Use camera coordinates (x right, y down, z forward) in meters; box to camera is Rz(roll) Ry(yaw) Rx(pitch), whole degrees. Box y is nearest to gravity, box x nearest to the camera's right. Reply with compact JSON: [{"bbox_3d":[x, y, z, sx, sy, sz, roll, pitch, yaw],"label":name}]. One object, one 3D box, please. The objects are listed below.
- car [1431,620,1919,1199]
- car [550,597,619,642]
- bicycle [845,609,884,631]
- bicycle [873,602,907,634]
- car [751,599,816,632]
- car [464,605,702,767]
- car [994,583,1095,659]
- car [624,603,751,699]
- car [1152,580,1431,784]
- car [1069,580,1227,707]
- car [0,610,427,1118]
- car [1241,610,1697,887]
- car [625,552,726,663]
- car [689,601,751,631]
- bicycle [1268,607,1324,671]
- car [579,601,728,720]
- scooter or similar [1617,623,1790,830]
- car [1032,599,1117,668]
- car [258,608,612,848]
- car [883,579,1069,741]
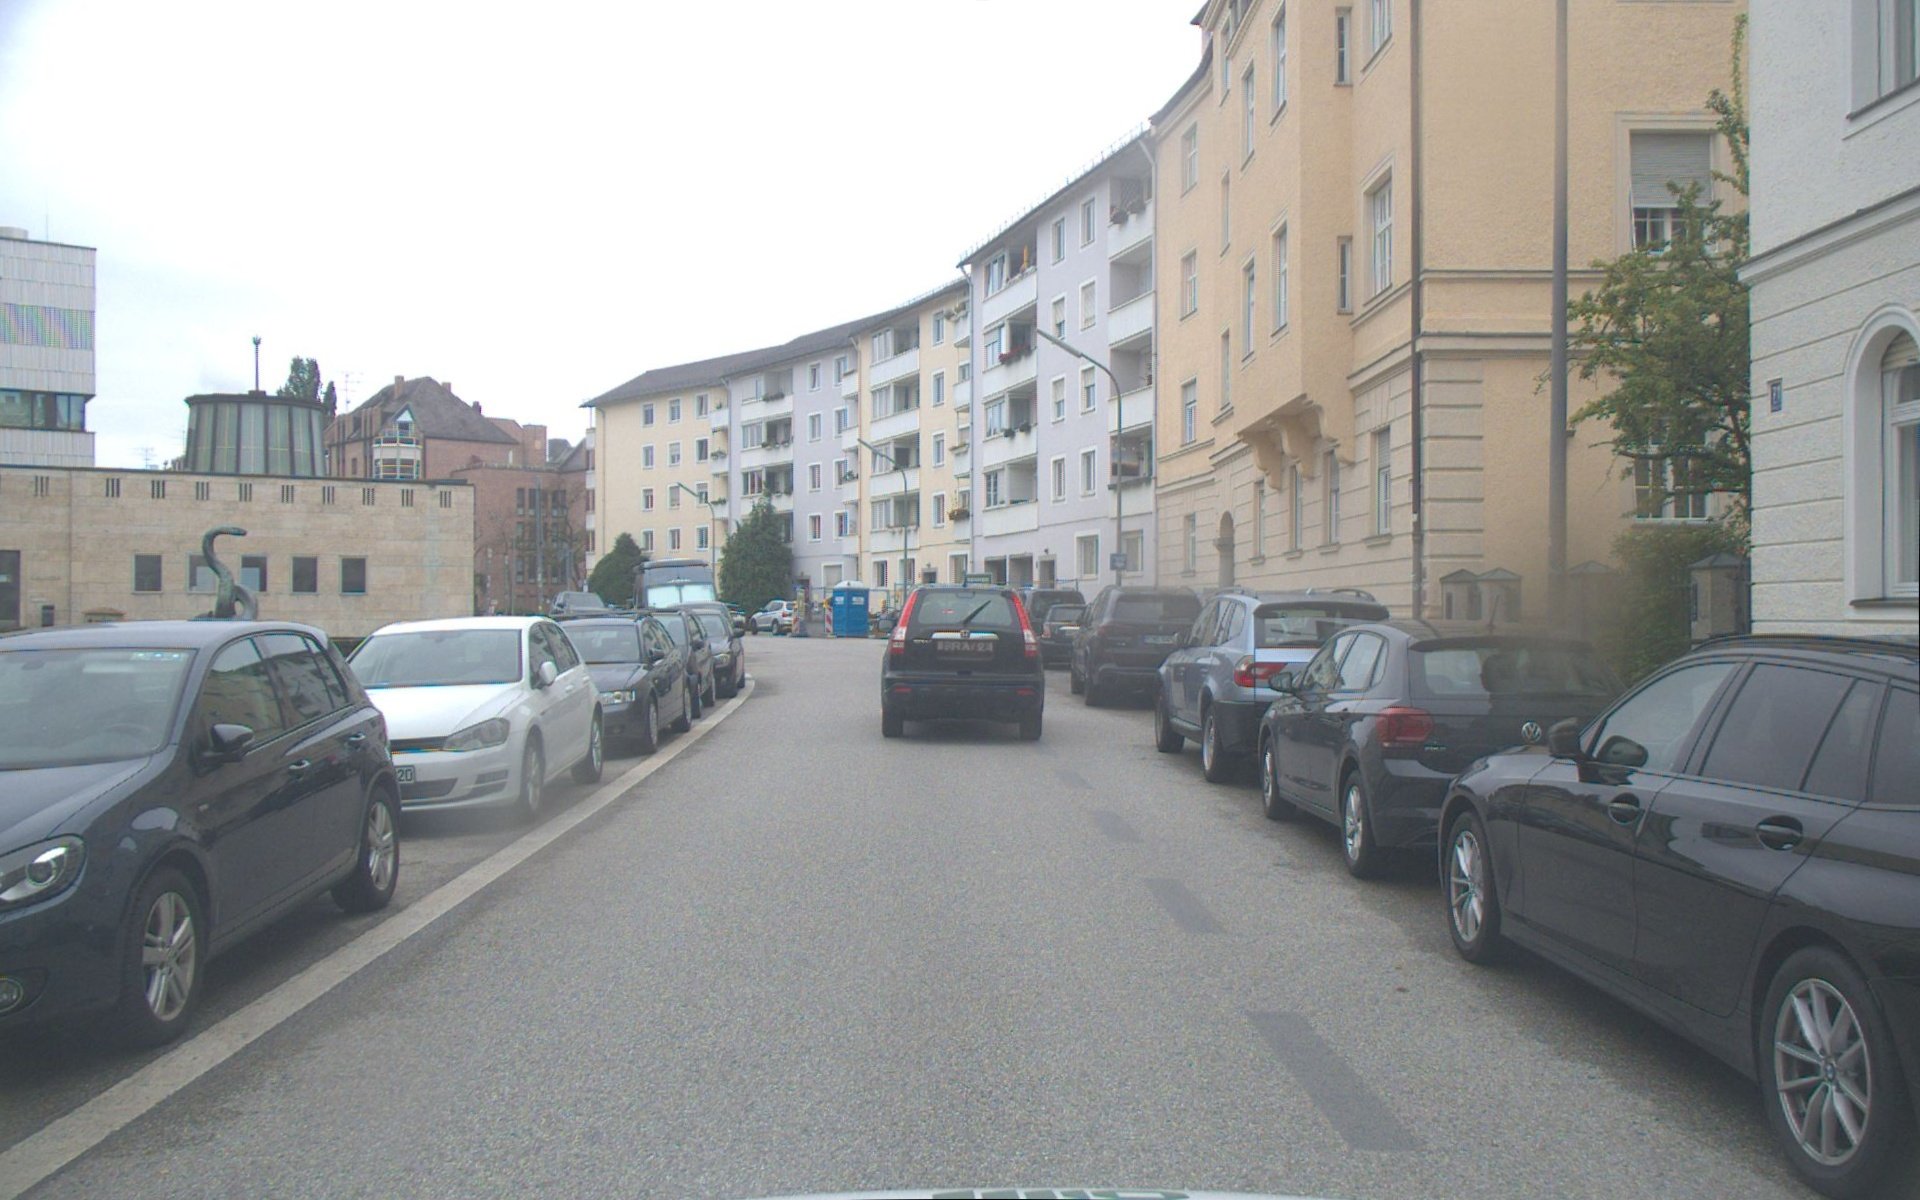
[{"bbox_3d":[3.088,0.814,5.514,1.645,1.452,4.389,0,0,-2],"label":"car"},{"bbox_3d":[-14.992,0.744,65.887,1.659,1.737,4.473,0,0,-27],"label":"car"},{"bbox_3d":[-4.754,0.992,82.208,1.840,1.110,0.561,0,-1,-23],"label":"bicycle"},{"bbox_3d":[-3.163,0.821,74.537,0.953,1.413,2.552,0,0,-16],"label":"bicycle"},{"bbox_3d":[-8.486,0.749,79.241,1.705,1.509,3.963,1,0,-28],"label":"car"},{"bbox_3d":[-3.945,0.826,18.014,1.720,1.479,4.393,-2,0,-3],"label":"car"},{"bbox_3d":[2.138,0.520,42.882,1.745,1.838,4.267,1,0,-9],"label":"car"},{"bbox_3d":[-4.507,0.794,27.893,1.764,1.430,4.450,-2,0,-5],"label":"car"},{"bbox_3d":[2.968,0.682,15.740,1.687,1.663,4.456,0,0,-1],"label":"car"},{"bbox_3d":[2.811,0.619,25.723,1.831,1.747,4.865,1,0,0],"label":"car"},{"bbox_3d":[-3.573,0.815,6.846,1.624,1.479,3.971,-2,0,-4],"label":"car"},{"bbox_3d":[3.032,0.794,10.759,1.645,1.452,4.086,0,0,-1],"label":"car"},{"bbox_3d":[-7.640,0.172,44.003,2.128,2.688,5.994,-1,0,-14],"label":"car"},{"bbox_3d":[-12.779,0.857,87.998,1.709,1.509,3.952,1,0,-34],"label":"car"},{"bbox_3d":[6.194,0.695,30.590,0.567,1.102,1.953,-3,0,-1],"label":"bicycle"},{"bbox_3d":[-4.198,0.780,23.069,1.624,1.479,3.310,-2,0,-4],"label":"car"},{"bbox_3d":[4.495,0.732,10.063,0.475,1.184,1.171,1,-1,-3],"label":"scooter or similar"},{"bbox_3d":[2.576,0.738,37.851,1.673,1.472,3.829,1,0,0],"label":"car"},{"bbox_3d":[-3.830,0.838,12.768,1.624,1.479,4.070,-2,0,-4],"label":"car"},{"bbox_3d":[0.079,0.636,19.211,1.853,1.676,3.988,0,0,-4],"label":"car"}]
